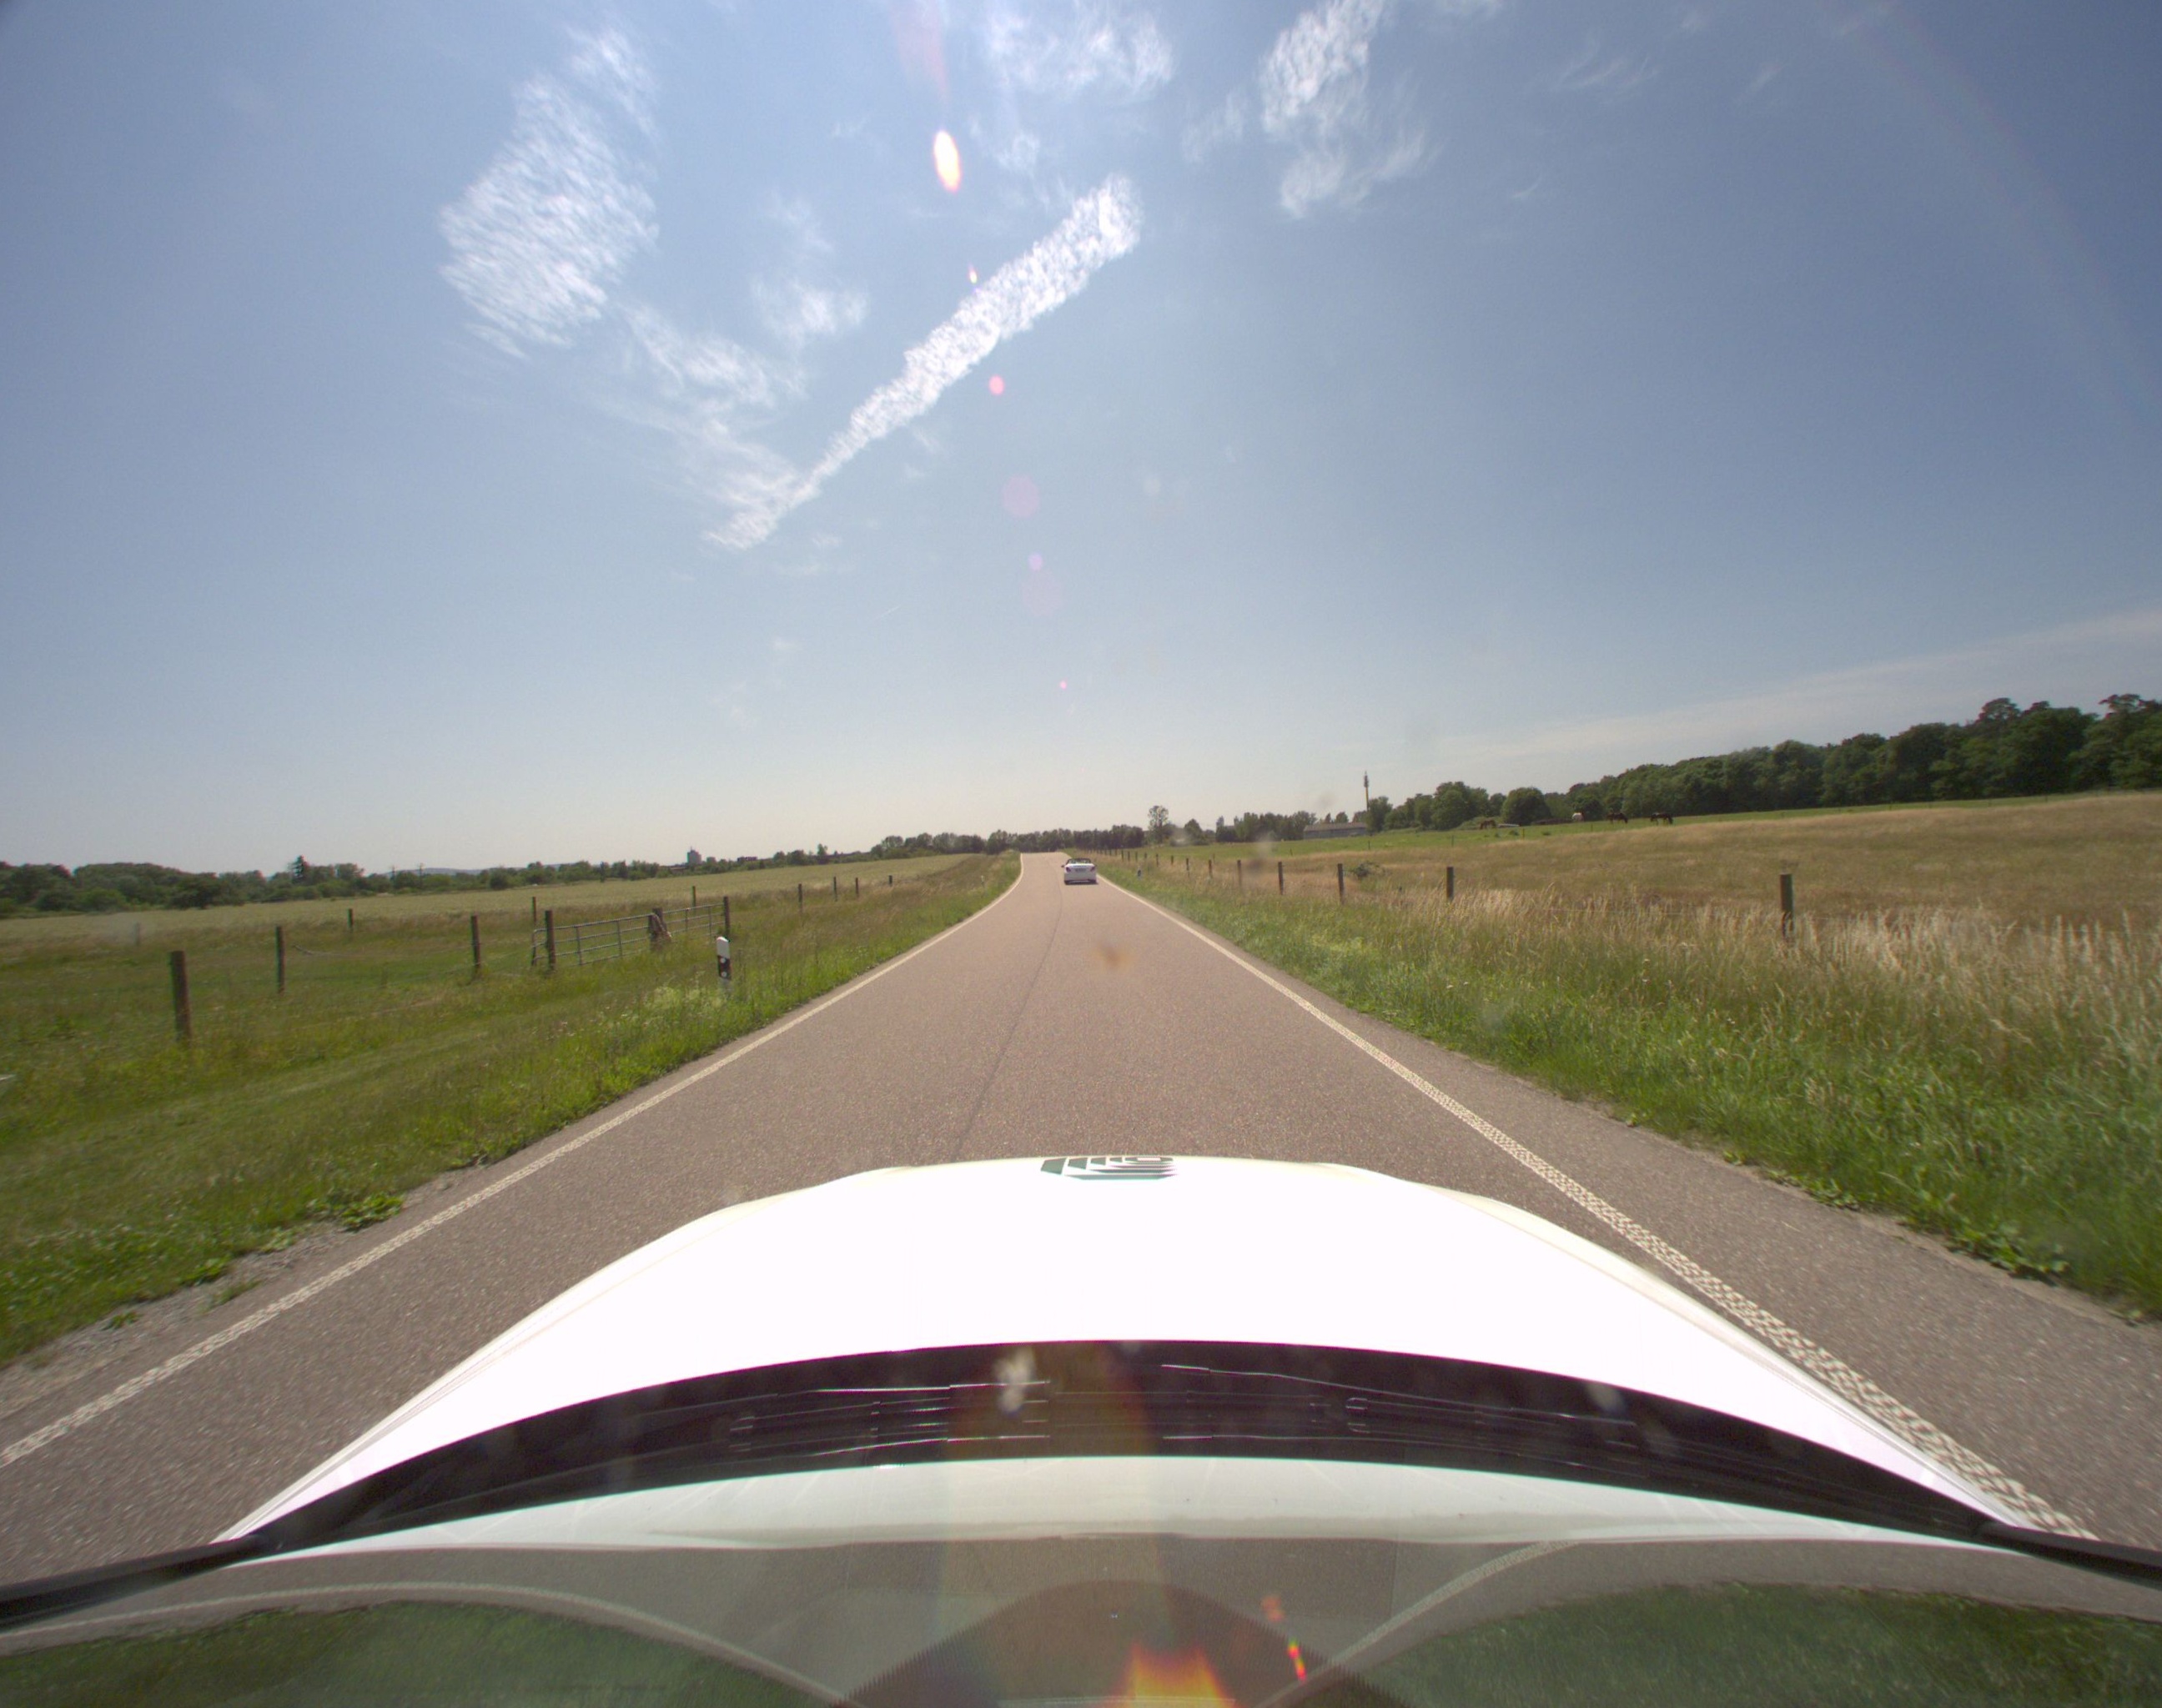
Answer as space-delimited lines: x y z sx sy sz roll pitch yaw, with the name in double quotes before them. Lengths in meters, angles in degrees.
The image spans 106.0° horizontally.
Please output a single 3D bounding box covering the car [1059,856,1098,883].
"car" -0.181 0.825 44.858 1.847 1.379 3.994 -2 0 -4
